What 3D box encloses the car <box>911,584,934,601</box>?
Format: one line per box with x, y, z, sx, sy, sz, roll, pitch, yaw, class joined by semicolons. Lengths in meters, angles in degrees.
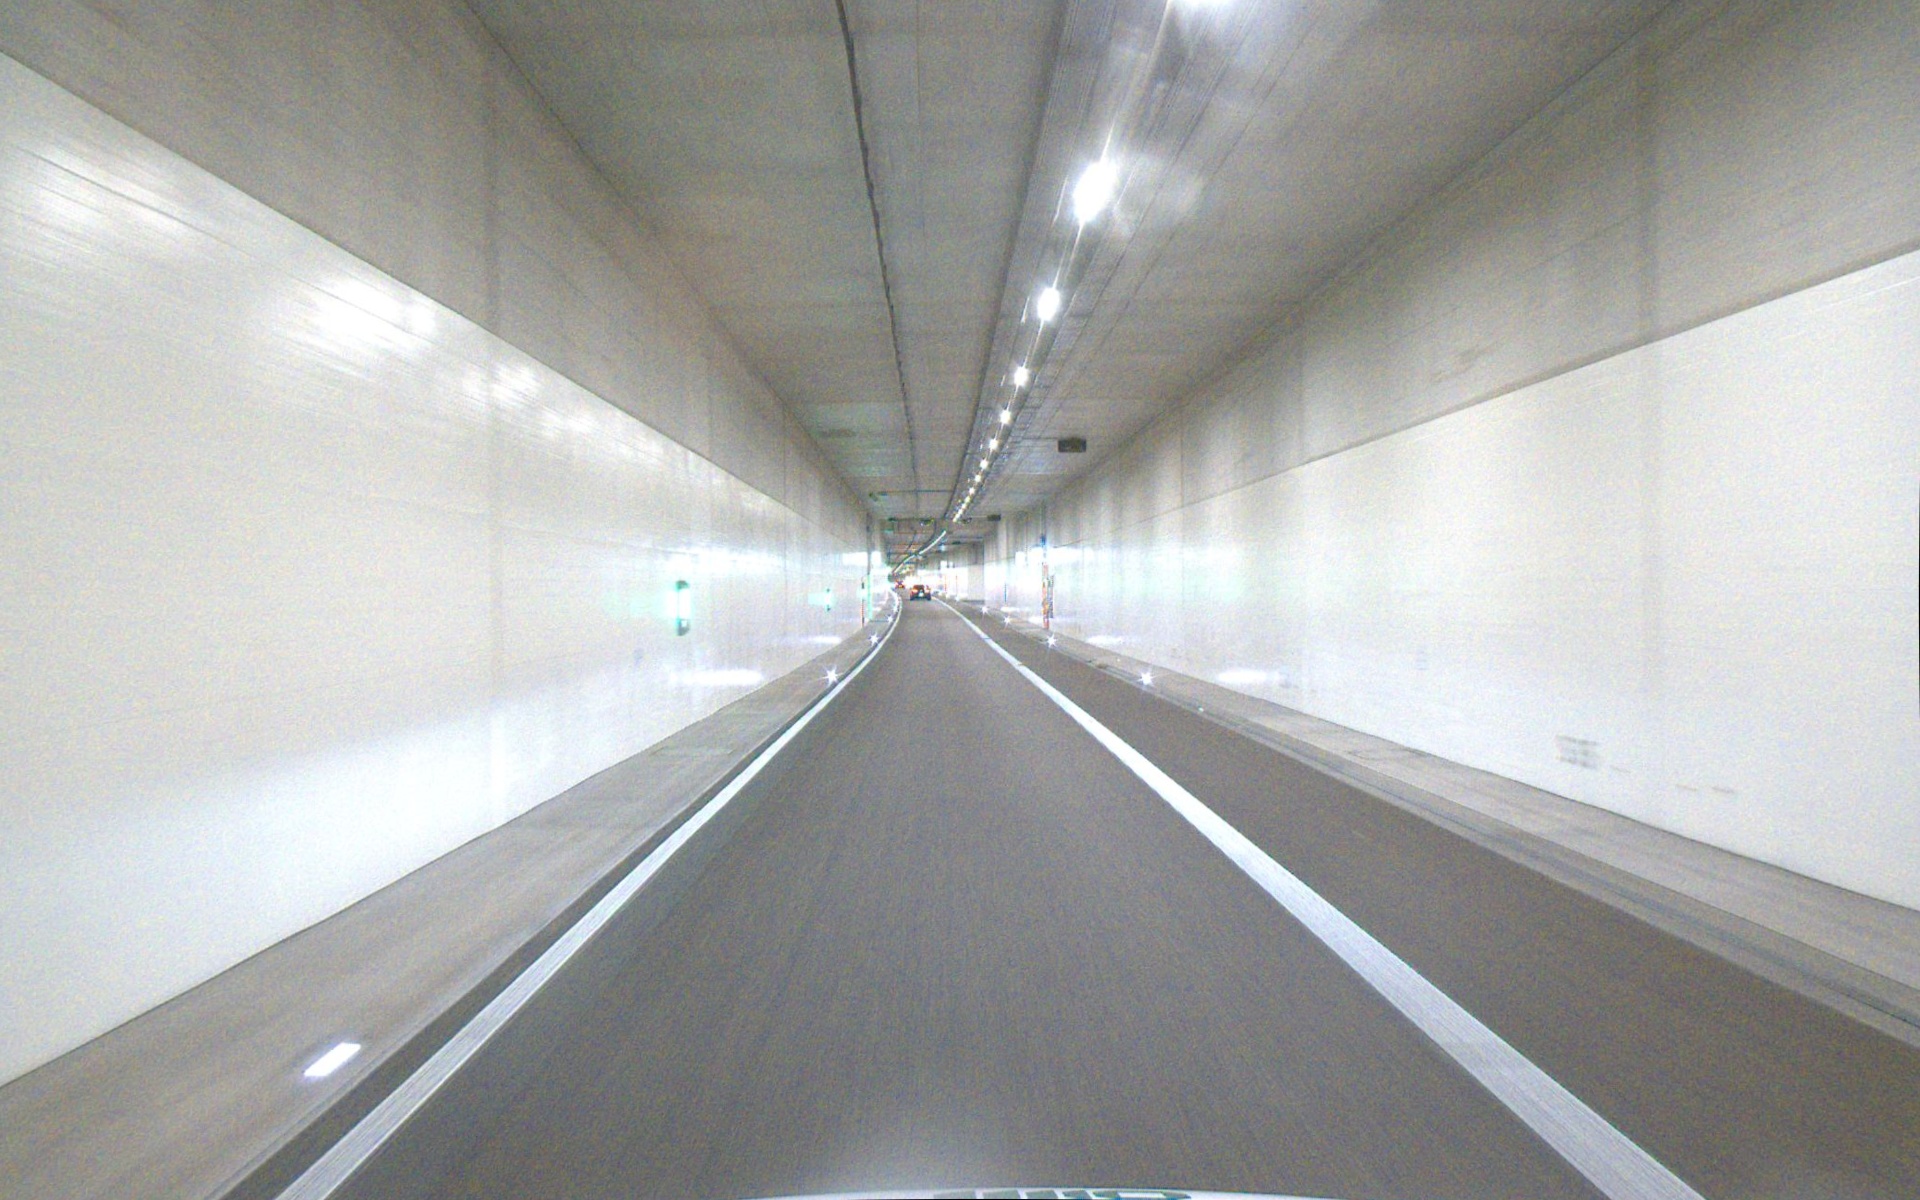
-3.383;-0.699;148.249;1.954;1.445;3.998;0;1;-3;car
